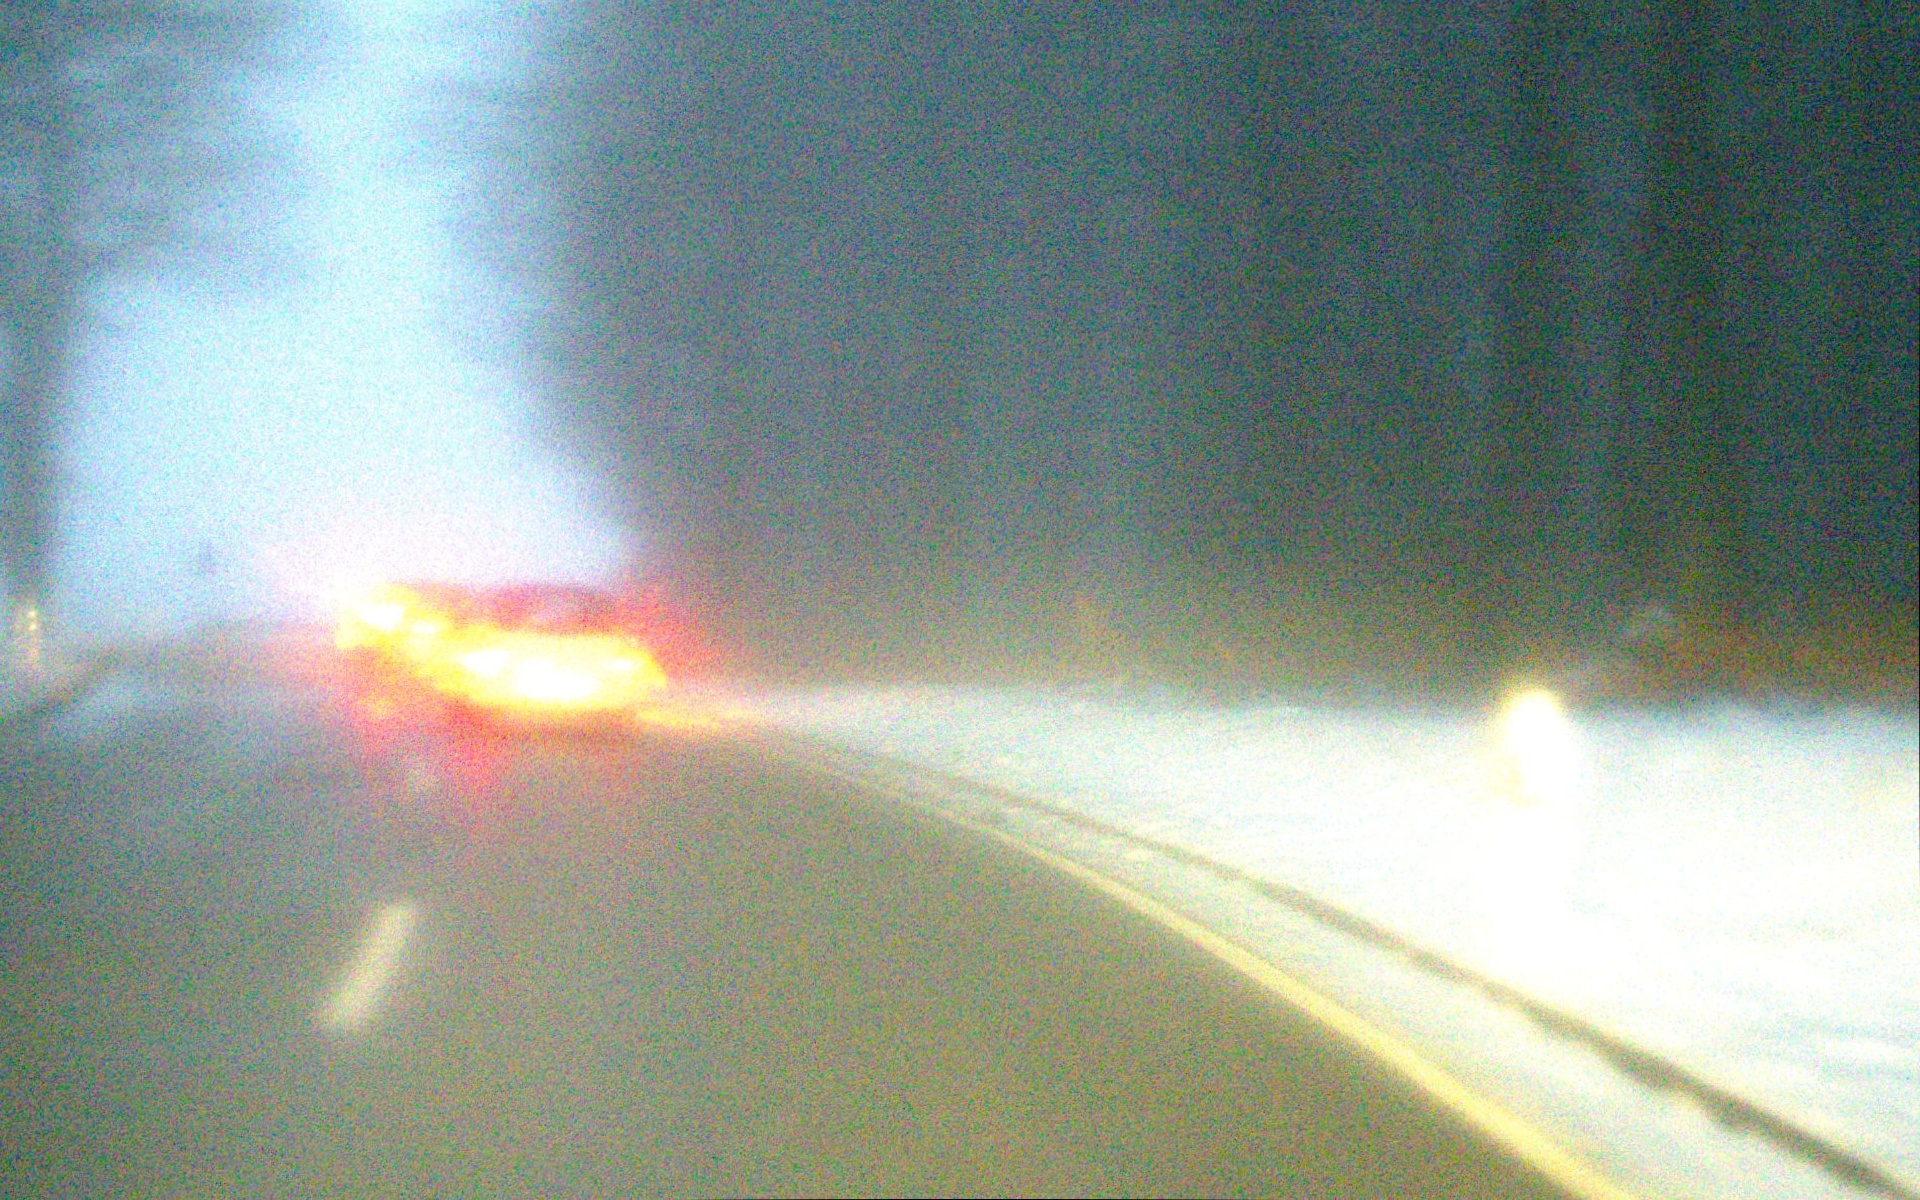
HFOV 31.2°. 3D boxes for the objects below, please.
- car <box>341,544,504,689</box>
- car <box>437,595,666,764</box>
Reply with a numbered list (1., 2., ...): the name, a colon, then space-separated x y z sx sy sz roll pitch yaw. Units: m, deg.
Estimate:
1. car: -7.555 0.222 48.049 1.993 1.777 4.001 5 -1 -11
2. car: -3.878 0.704 32.440 1.945 1.376 4.001 3 0 -8
